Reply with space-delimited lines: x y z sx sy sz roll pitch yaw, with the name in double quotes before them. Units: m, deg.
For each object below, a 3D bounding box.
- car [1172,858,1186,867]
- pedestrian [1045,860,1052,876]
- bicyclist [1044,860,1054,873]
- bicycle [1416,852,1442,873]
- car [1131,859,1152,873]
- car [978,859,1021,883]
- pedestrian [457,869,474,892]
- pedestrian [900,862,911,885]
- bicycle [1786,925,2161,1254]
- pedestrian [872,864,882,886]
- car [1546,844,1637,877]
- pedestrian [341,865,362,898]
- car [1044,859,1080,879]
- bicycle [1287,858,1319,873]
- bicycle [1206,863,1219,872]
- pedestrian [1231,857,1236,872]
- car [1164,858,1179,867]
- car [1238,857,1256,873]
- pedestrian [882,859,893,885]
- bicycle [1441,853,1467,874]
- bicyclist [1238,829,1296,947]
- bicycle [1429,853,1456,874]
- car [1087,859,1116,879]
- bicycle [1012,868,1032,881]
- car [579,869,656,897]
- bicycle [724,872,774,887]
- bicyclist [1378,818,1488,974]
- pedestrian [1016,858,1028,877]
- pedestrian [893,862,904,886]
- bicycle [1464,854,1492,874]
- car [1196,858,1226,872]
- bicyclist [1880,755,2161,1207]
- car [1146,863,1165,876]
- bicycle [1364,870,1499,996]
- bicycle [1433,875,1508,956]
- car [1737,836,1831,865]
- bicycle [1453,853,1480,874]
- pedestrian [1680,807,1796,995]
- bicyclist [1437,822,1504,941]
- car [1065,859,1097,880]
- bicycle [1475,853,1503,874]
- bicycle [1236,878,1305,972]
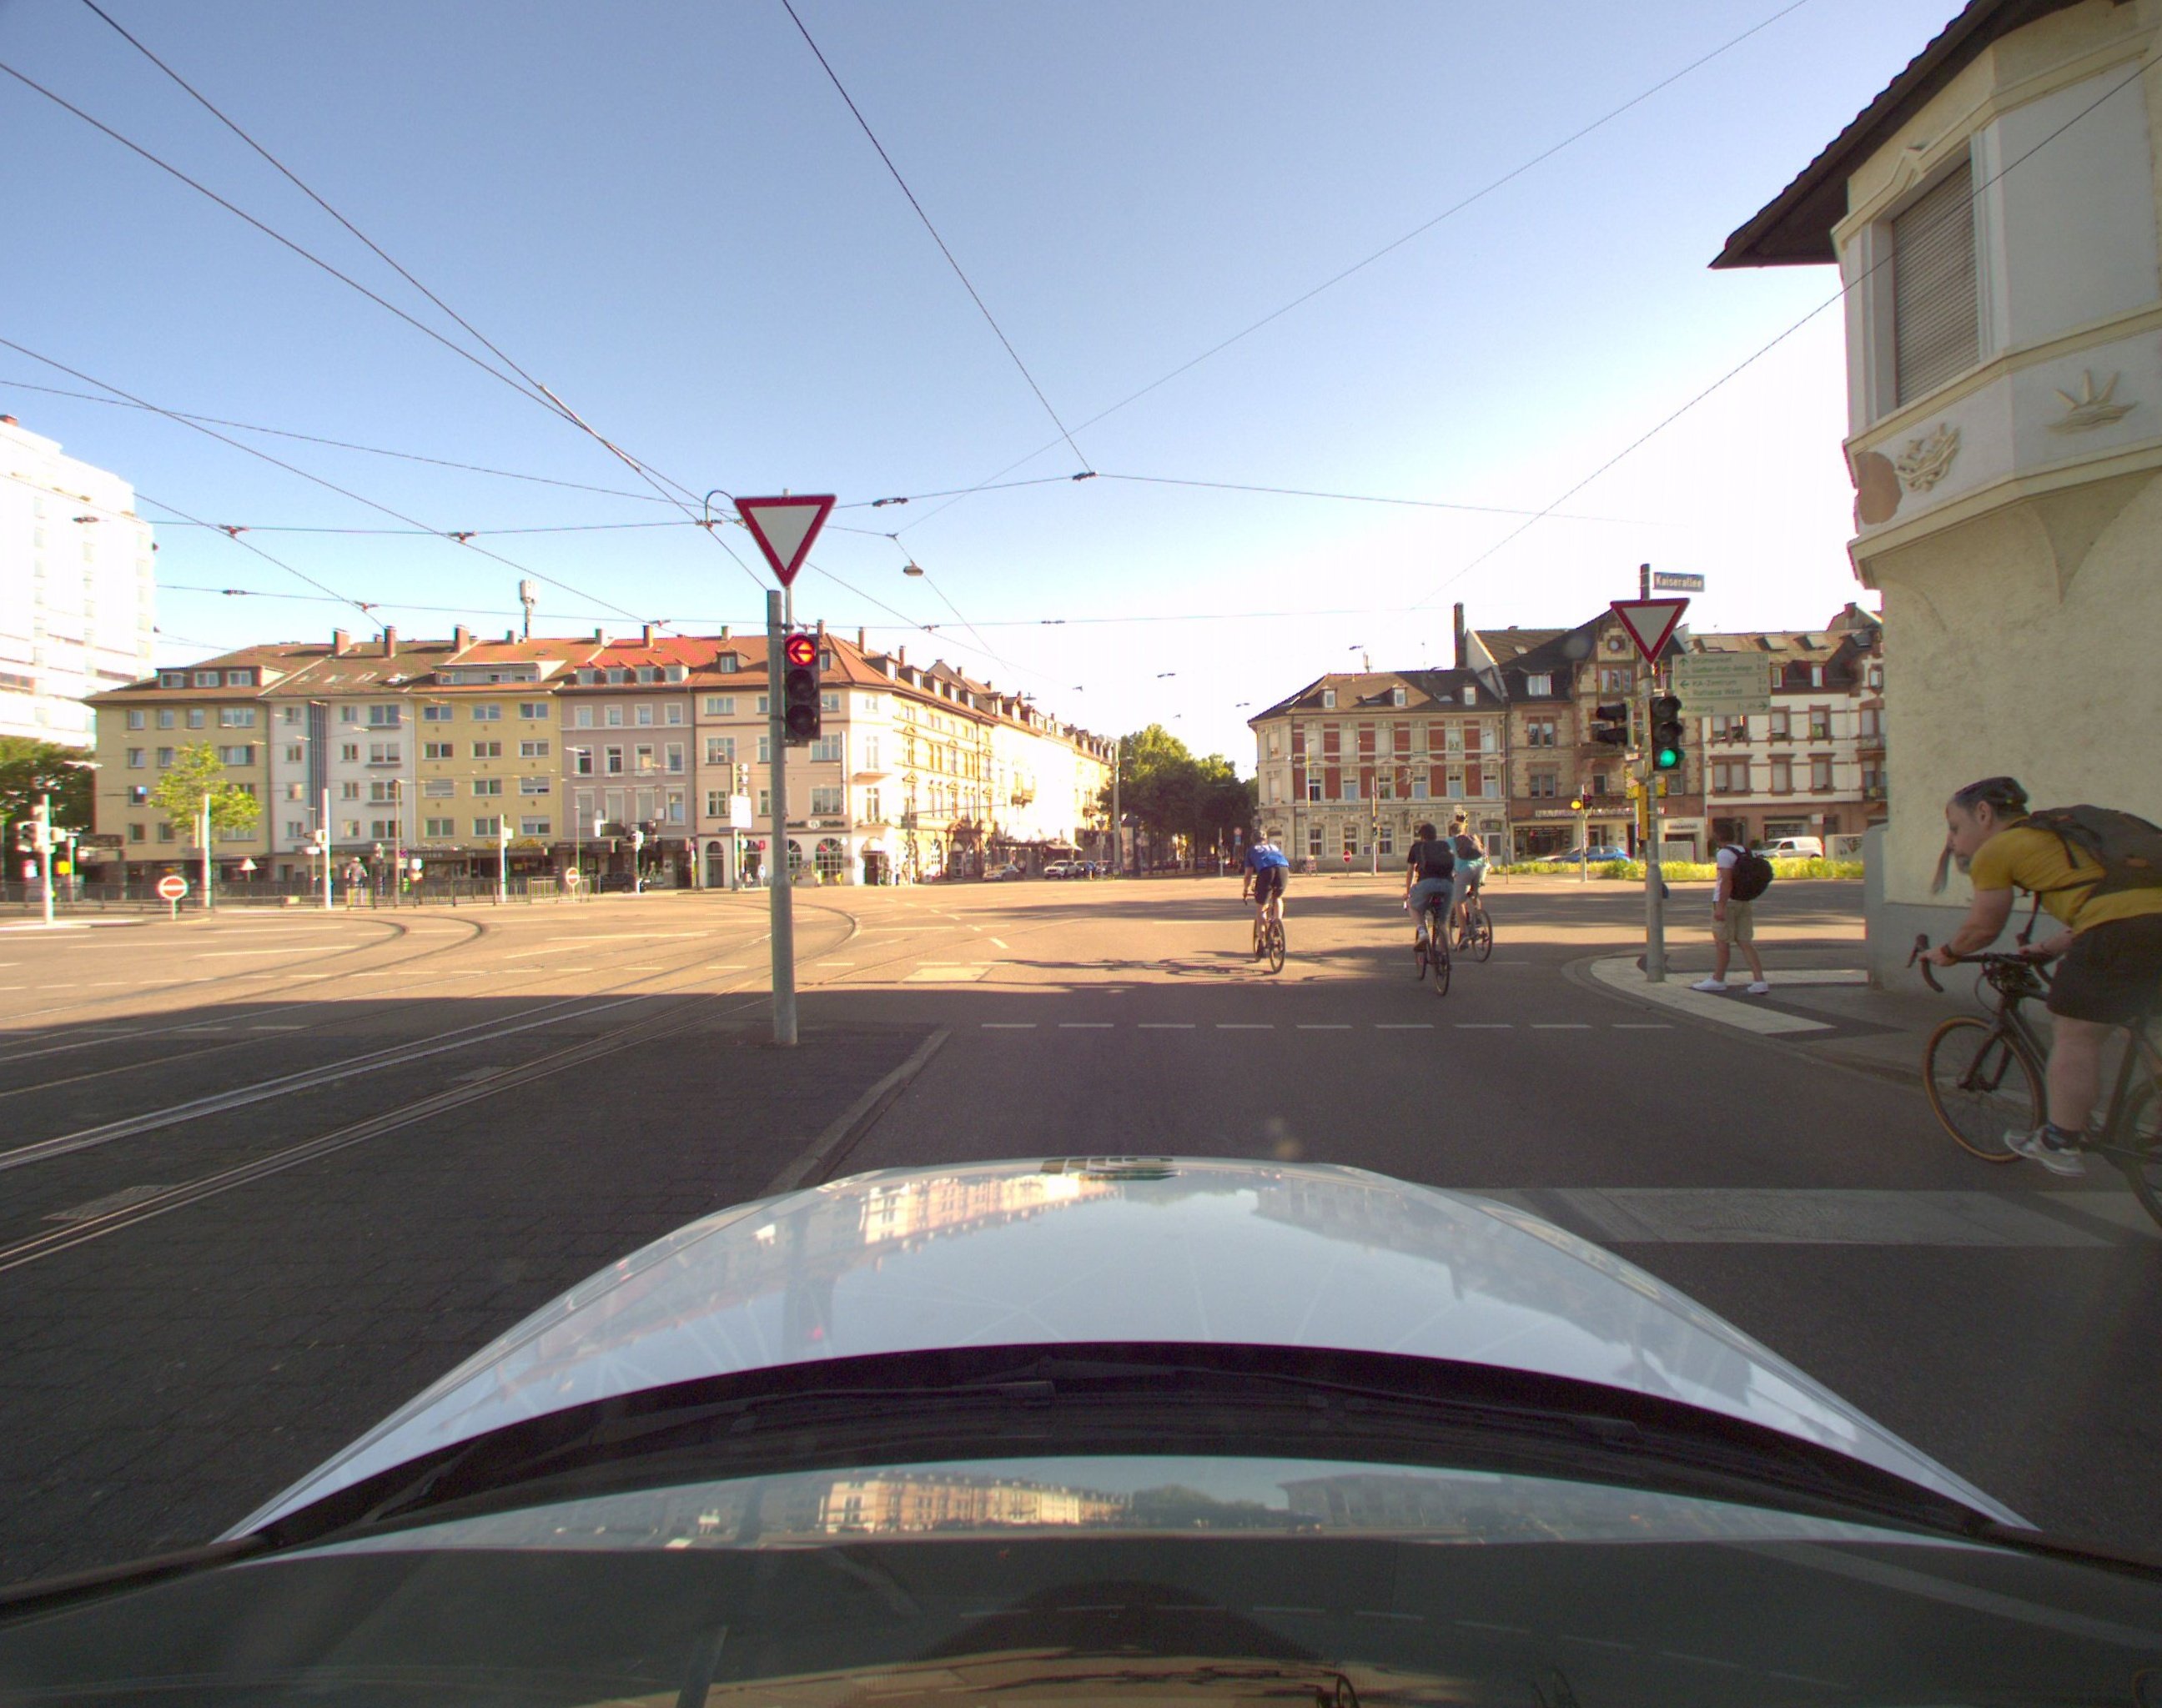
"car" 16.408 1.423 135.960 1.546 1.513 3.673 -1 -1 19
"pedestrian" -3.355 1.484 85.096 0.539 1.631 0.709 -1 -1 15
"bicyclist" -2.845 1.109 72.314 0.626 1.185 0.689 -1 -1 23
"bicycle" 22.383 0.542 52.445 0.689 1.287 2.663 0 -1 3
"car" 8.406 1.624 112.681 1.977 1.904 4.019 -1 -1 19
"car" -6.684 1.368 67.424 1.977 1.904 4.019 -1 -1 19
"pedestrian" -43.446 1.865 57.503 0.631 1.634 0.700 0 -1 -2
"pedestrian" -12.411 1.387 57.643 0.631 1.634 0.700 0 -1 -2
"bicycle" 4.229 0.899 3.593 0.752 1.031 1.782 0 -1 3
"pedestrian" -14.179 1.457 56.613 0.631 1.477 0.465 0 -1 -2
"car" 28.242 0.355 45.123 3.769 1.778 2.000 0 -1 1
"pedestrian" -37.296 1.398 41.625 0.523 1.628 0.577 0 -1 0
"car" -1.573 1.223 67.718 1.979 1.618 4.015 -1 -1 14
"bicycle" 15.469 0.774 56.850 2.040 0.998 0.631 -1 -1 4
"bicycle" 16.000 1.653 98.851 0.630 1.085 1.687 0 -1 -28
"pedestrian" 18.558 1.288 99.180 0.635 1.796 0.492 -1 -1 14
"car" 14.667 1.394 131.753 1.546 1.513 3.673 -1 -1 19
"car" 16.822 1.120 82.350 1.680 1.565 3.855 -1 -1 14
"pedestrian" -13.655 1.271 57.502 0.631 1.881 0.465 0 -1 -2
"bicycle" 23.983 0.614 52.401 0.626 1.287 2.663 0 -1 3
"bicyclist" 2.434 0.423 10.730 0.635 1.494 0.885 0 1 6
"bicycle" 23.259 0.621 52.408 0.689 1.287 2.663 0 -1 3
"car" 2.069 1.405 79.909 1.979 1.904 4.015 -1 -1 14
"bicycle" -4.731 1.636 65.548 0.756 1.008 2.406 -1 -1 16
"car" -30.590 1.917 53.812 3.962 1.670 2.006 -2 0 10
"bicycle" -23.425 1.790 57.459 3.118 0.980 1.002 0 -1 1
"bicyclist" 3.800 0.438 8.864 0.803 1.606 0.883 0 -1 0
"pedestrian" -4.759 1.106 65.480 0.814 1.512 0.601 -1 -1 16
"pedestrian" -12.638 1.354 56.358 0.631 1.634 0.700 0 -1 -2
"bicycle" 25.501 0.626 52.369 0.626 1.287 2.663 0 -1 3
"car" 18.347 1.567 114.711 3.955 1.904 2.009 -1 -1 17
"bicyclist" 4.214 0.468 3.439 0.802 1.663 0.884 0 -1 2
"car" 11.193 2.326 122.538 1.977 1.904 4.019 -1 -1 19
"bicycle" 3.802 0.808 8.999 0.752 1.236 1.702 0 -1 0
"bicycle" 5.532 0.833 11.665 0.644 1.031 1.778 -1 -1 15
"car" 45.310 -0.227 52.551 4.349 1.778 2.000 0 -1 1
"bicycle" 24.773 0.619 52.373 0.626 1.287 2.663 0 -1 3
"pedestrian" 6.524 0.449 8.095 0.589 1.756 0.635 -5 -1 -37
"bicyclist" 5.546 0.383 11.641 0.684 1.633 0.887 -1 -1 14
"car" 0.021 1.371 73.836 1.979 1.904 4.015 -1 -1 14
"bicycle" 26.196 0.621 52.340 0.626 1.287 2.663 0 -1 3
"bicycle" 2.427 0.869 10.570 0.623 1.085 1.705 0 -1 5
